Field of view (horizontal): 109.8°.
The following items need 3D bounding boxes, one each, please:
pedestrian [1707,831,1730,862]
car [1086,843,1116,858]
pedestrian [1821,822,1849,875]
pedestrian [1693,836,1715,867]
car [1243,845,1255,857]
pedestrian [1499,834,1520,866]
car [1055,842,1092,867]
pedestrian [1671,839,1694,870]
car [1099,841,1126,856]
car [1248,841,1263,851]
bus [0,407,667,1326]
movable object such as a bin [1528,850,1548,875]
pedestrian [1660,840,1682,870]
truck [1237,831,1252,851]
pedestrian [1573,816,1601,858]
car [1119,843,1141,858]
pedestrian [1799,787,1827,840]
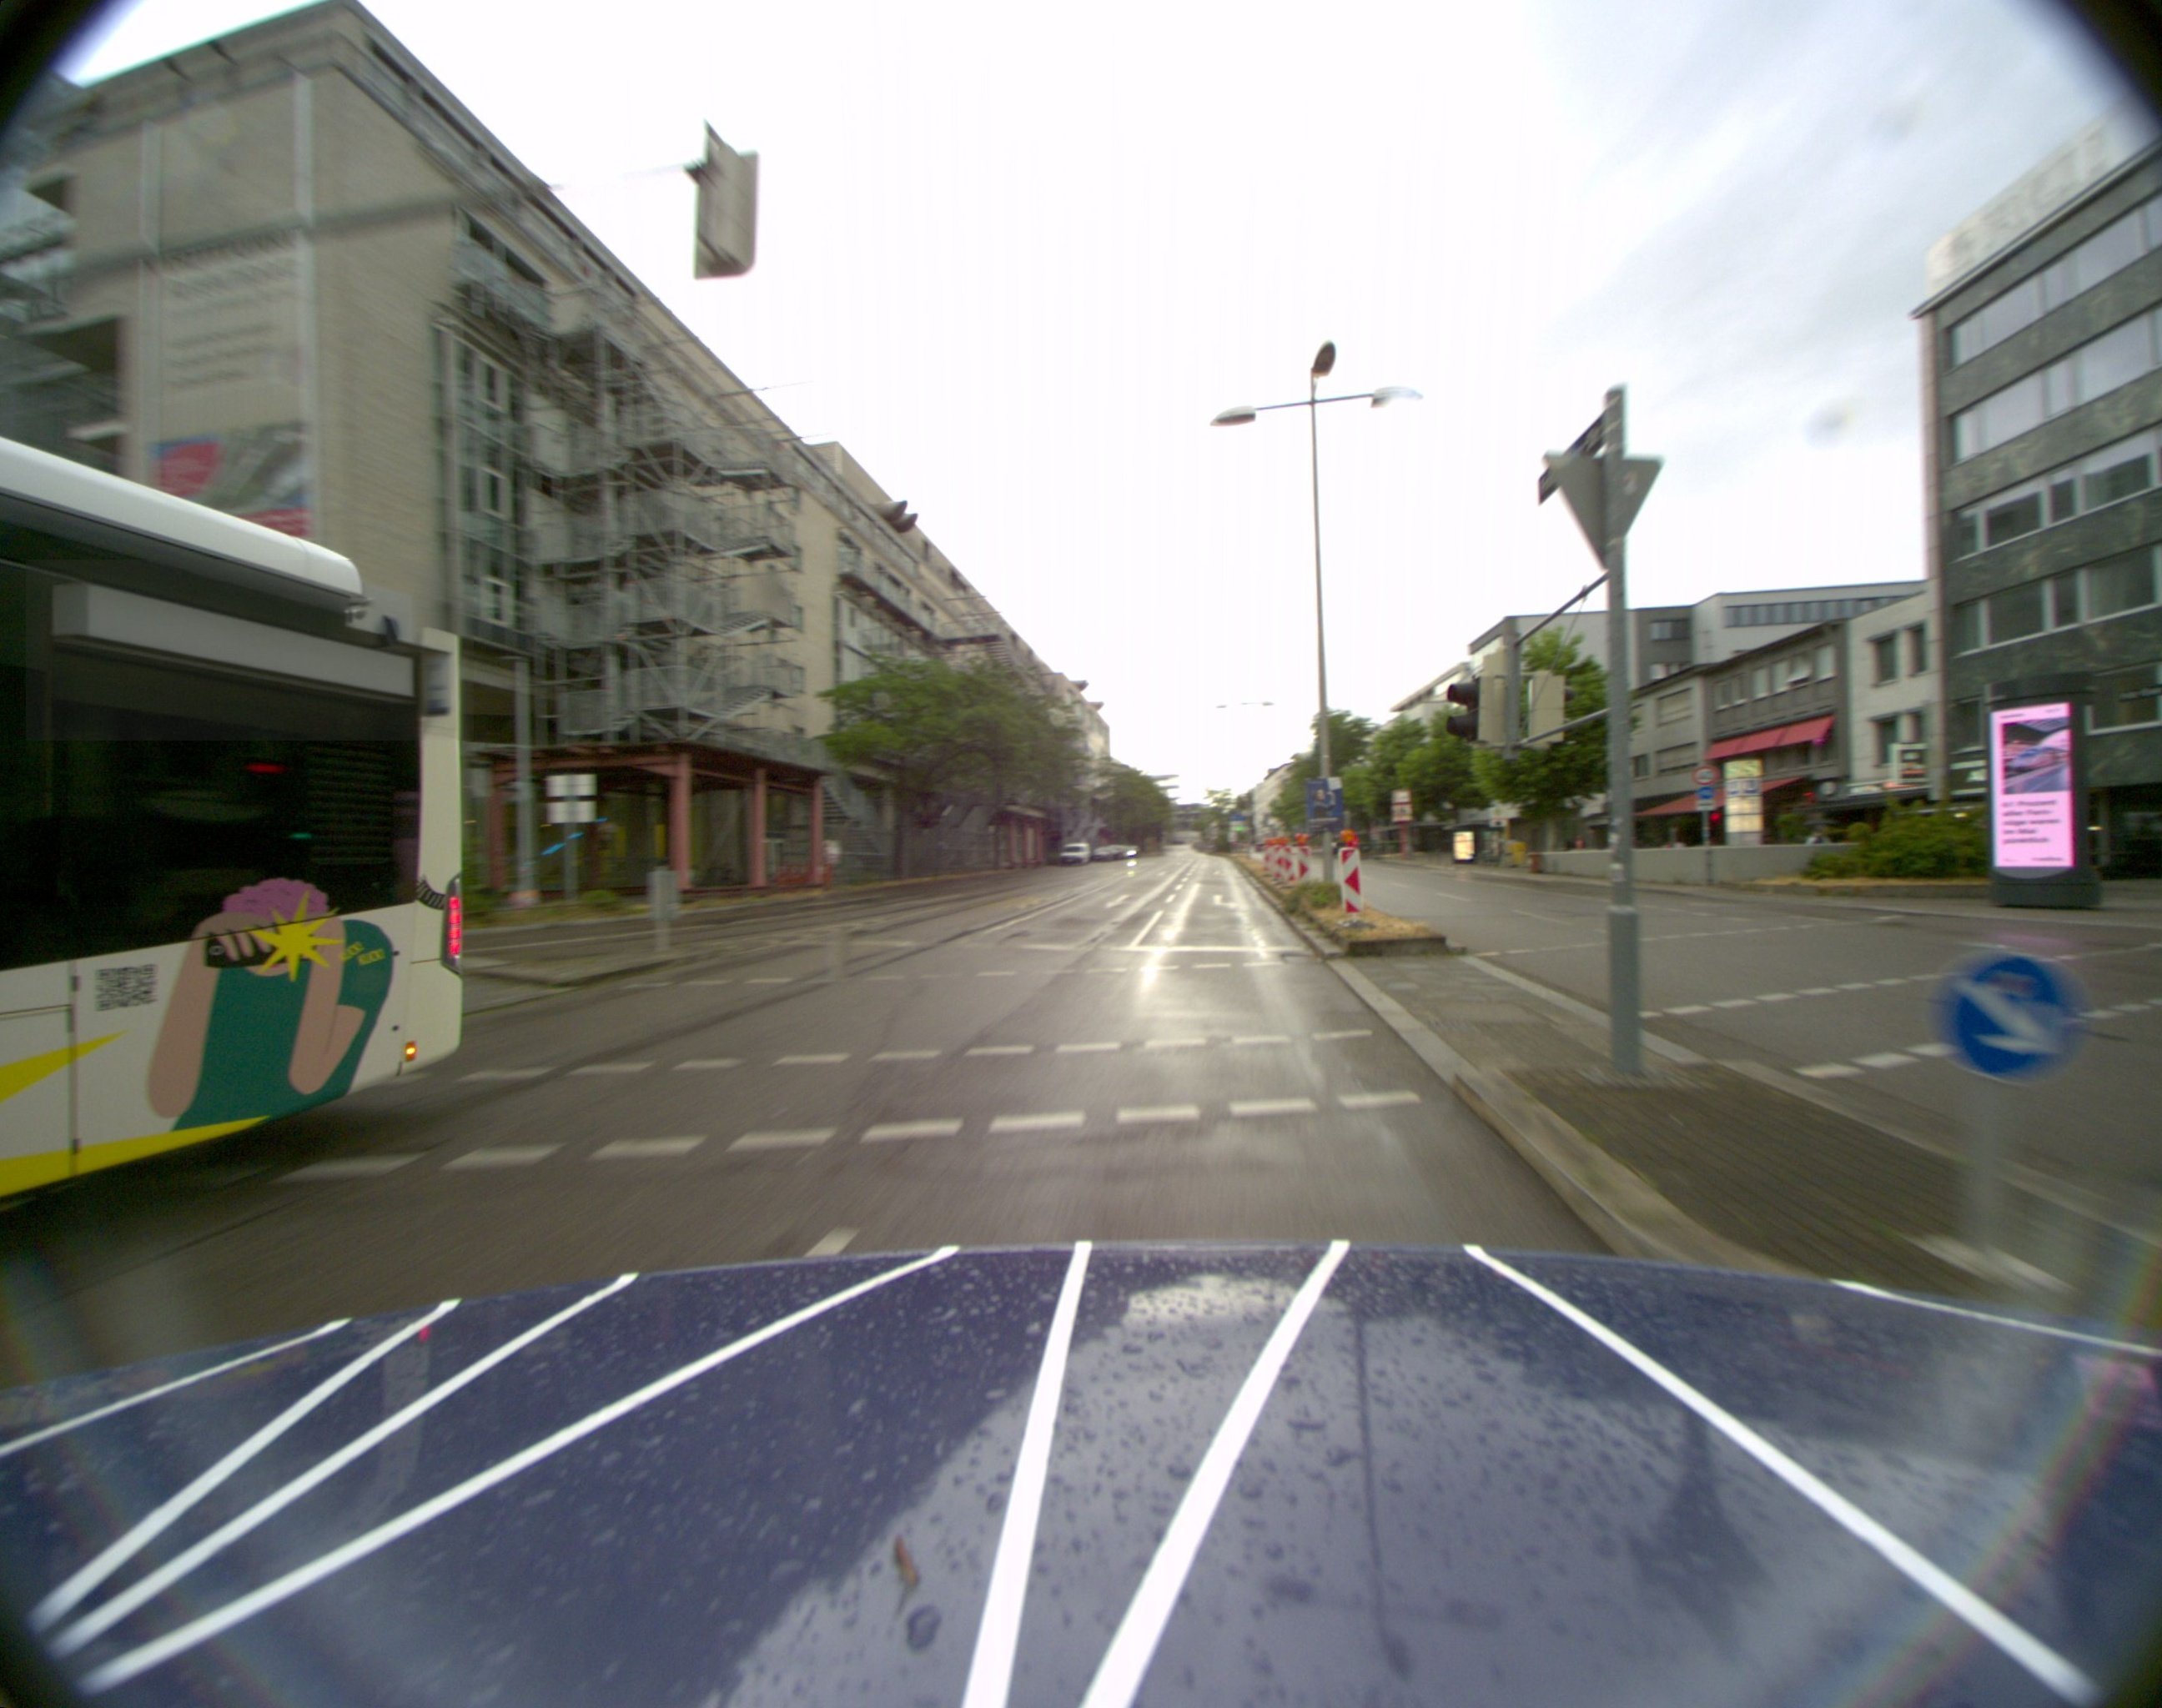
[{"bbox_3d":[31.391,-0.365,37.410,0.668,1.520,0.611,-1,1,13],"label":"pedestrian"},{"bbox_3d":[1.975,-0.327,73.337,2.145,1.329,4.819,-1,1,10],"label":"car"},{"bbox_3d":[28.829,-0.223,29.051,0.597,2.002,0.729,0,1,30],"label":"pedestrian"},{"bbox_3d":[31.353,-0.130,38.246,0.668,1.520,0.611,-1,1,14],"label":"pedestrian"},{"bbox_3d":[30.404,-0.548,137.806,1.997,2.002,4.003,-1,1,11],"label":"car"},{"bbox_3d":[27.596,-0.271,48.968,0.921,2.002,0.944,-1,2,10],"label":"pedestrian"},{"bbox_3d":[-0.558,-0.005,61.833,2.212,1.895,4.332,-1,1,10],"label":"car"},{"bbox_3d":[29.652,0.033,37.470,0.668,1.520,0.611,-1,1,13],"label":"pedestrian"},{"bbox_3d":[3.345,-0.586,80.001,2.145,1.486,4.819,-1,1,10],"label":"car"},{"bbox_3d":[34.207,-1.578,149.007,1.998,1.916,4.965,0,2,5],"label":"car"},{"bbox_3d":[-5.752,0.075,1.598,2.887,3.420,9.719,-1,0,12],"label":"bus"},{"bbox_3d":[20.191,0.372,33.570,0.506,1.094,0.661,-1,2,8],"label":"movable object such as a bin"},{"bbox_3d":[29.897,0.033,38.492,0.668,1.520,0.611,-1,1,13],"label":"pedestrian"},{"bbox_3d":[30.599,-2.377,142.319,1.997,3.557,7.577,-1,1,8],"label":"truck"},{"bbox_3d":[22.085,-0.748,33.181,0.611,1.813,0.791,-2,2,-18],"label":"pedestrian"},{"bbox_3d":[5.899,-0.466,90.954,2.145,1.637,4.819,-1,1,10],"label":"car"},{"bbox_3d":[28.253,-1.544,29.332,0.597,2.002,0.729,0,1,30],"label":"pedestrian"}]
